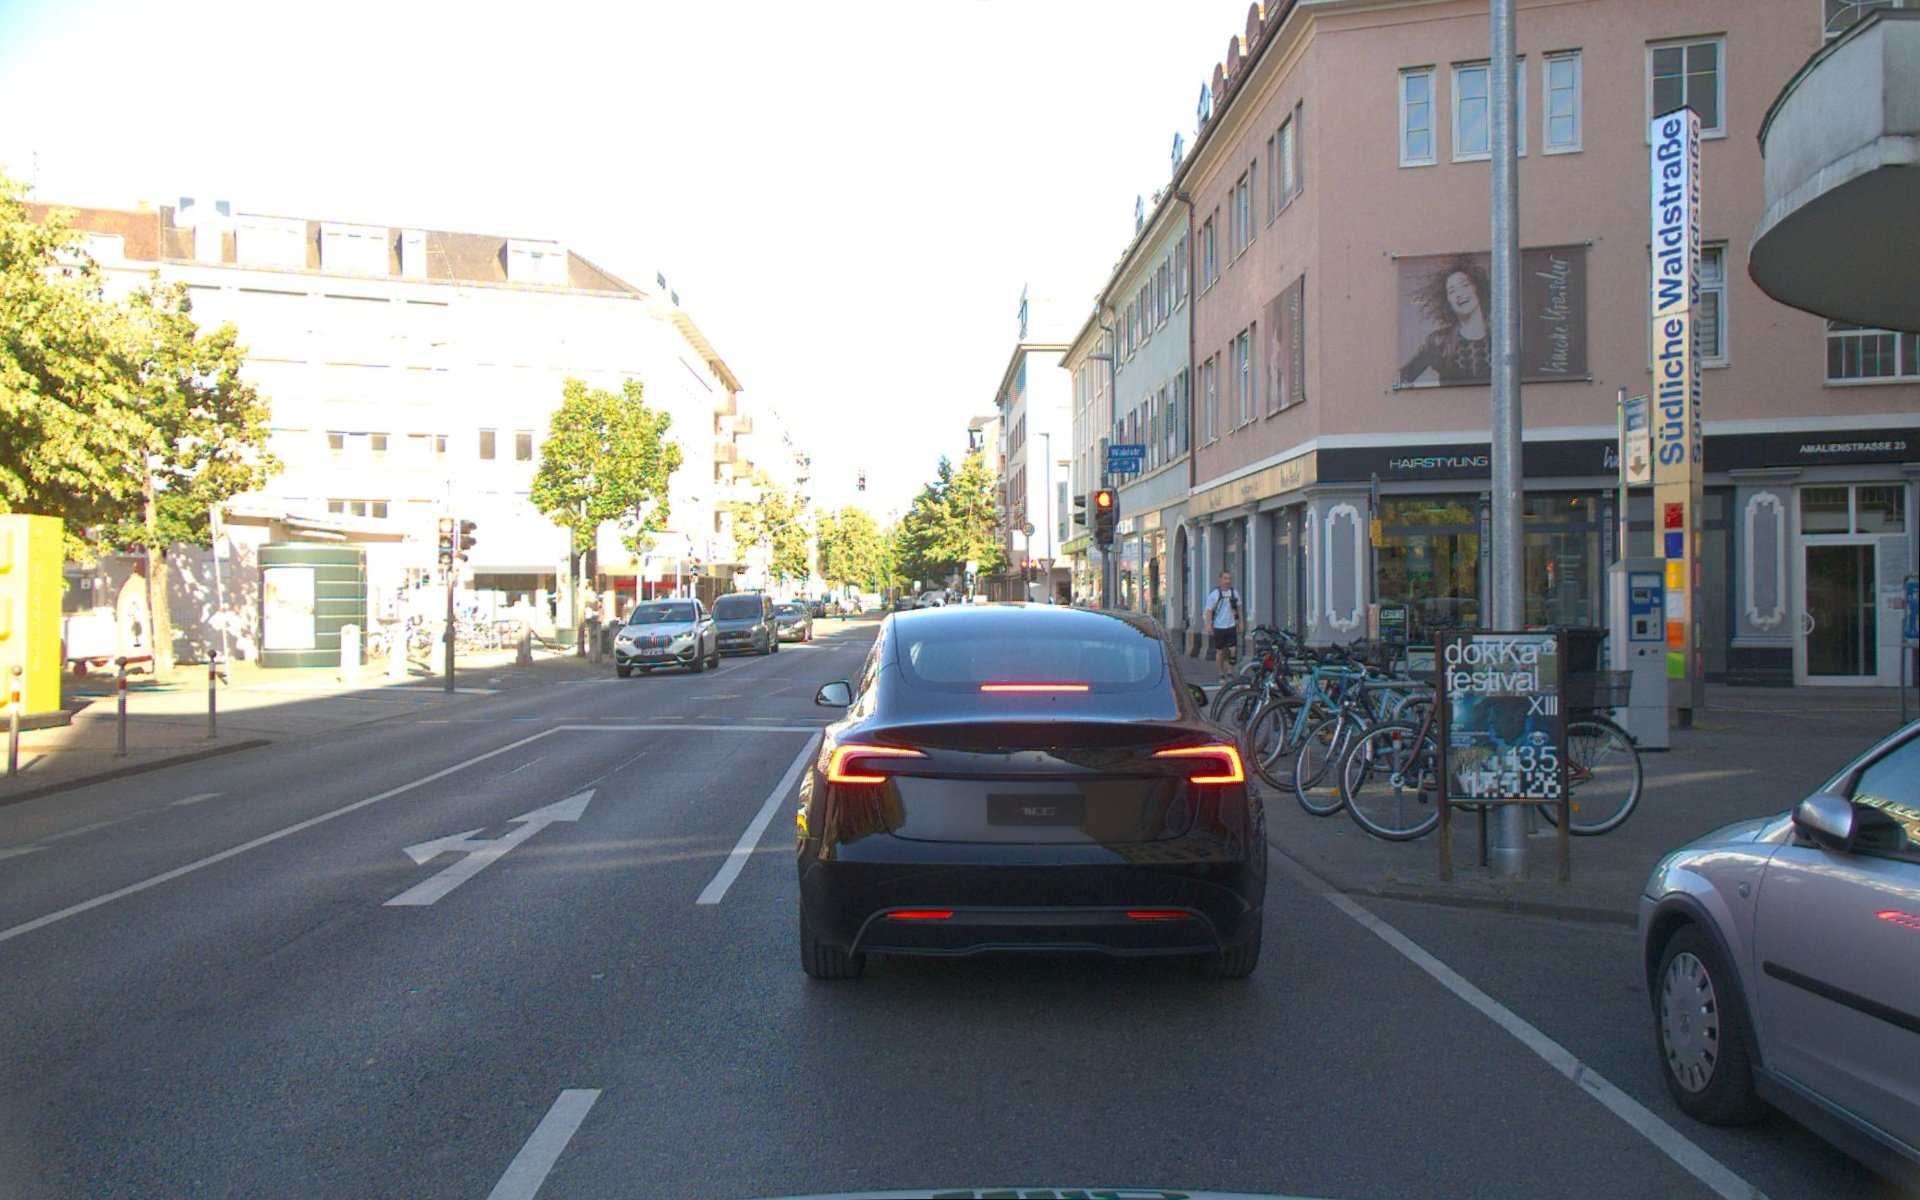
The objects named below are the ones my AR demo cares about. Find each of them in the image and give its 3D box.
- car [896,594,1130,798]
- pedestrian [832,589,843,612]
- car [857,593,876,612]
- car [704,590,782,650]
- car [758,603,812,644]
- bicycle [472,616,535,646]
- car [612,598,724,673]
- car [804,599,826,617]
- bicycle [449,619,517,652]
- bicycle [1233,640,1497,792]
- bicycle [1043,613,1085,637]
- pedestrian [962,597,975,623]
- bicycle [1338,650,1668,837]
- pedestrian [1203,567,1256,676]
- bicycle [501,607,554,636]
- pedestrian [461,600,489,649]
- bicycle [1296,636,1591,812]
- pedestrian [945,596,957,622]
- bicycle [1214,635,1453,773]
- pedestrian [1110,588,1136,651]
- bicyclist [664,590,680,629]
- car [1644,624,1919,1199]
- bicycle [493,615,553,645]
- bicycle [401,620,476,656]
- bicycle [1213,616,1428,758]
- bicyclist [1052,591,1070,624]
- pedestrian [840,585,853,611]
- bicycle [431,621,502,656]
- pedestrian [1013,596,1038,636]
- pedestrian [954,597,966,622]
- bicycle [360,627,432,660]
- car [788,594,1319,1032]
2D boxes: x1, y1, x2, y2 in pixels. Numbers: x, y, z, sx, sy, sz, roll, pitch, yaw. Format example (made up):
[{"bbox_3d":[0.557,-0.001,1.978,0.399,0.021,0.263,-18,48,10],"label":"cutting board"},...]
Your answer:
[{"bbox_3d":[0.314,0.688,13.810,1.683,1.450,3.755,0,0,-2],"label":"car"},{"bbox_3d":[-10.915,0.047,147.419,0.900,2.049,0.933,0,0,-1],"label":"pedestrian"},{"bbox_3d":[-10.543,0.288,186.943,1.953,2.049,3.999,0,0,-1],"label":"car"},{"bbox_3d":[-6.307,0.559,48.379,1.751,1.675,4.401,0,0,-1],"label":"car"},{"bbox_3d":[-6.583,0.863,62.632,1.680,1.471,3.844,1,0,-1],"label":"car"},{"bbox_3d":[-14.328,0.969,51.931,1.826,0.950,0.606,0,0,-2],"label":"bicycle"},{"bbox_3d":[-6.291,0.742,36.014,1.752,1.485,3.756,-2,0,-1],"label":"car"},{"bbox_3d":[-12.772,0.669,146.100,1.671,1.579,3.696,0,0,-1],"label":"car"},{"bbox_3d":[-14.305,1.077,49.626,1.826,0.950,0.606,1,0,-2],"label":"bicycle"},{"bbox_3d":[3.026,0.865,12.472,1.834,1.056,0.533,-2,-1,3],"label":"bicycle"},{"bbox_3d":[4.477,1.079,71.430,1.756,1.024,0.469,1,-1,-17],"label":"bicycle"},{"bbox_3d":[0.492,0.575,95.443,0.516,1.447,0.474,1,-1,-31],"label":"pedestrian"},{"bbox_3d":[3.262,0.867,10.020,1.833,1.056,0.353,-2,-1,6],"label":"bicycle"},{"bbox_3d":[4.579,0.368,28.134,0.735,1.796,0.837,-2,-1,3],"label":"pedestrian"},{"bbox_3d":[-20.273,1.023,77.582,2.334,1.318,0.509,1,-1,-27],"label":"bicycle"},{"bbox_3d":[-20.420,1.033,69.691,1.041,2.049,1.049,1,-1,-20],"label":"pedestrian"},{"bbox_3d":[3.244,0.829,11.183,1.834,1.106,0.414,-2,-1,3],"label":"bicycle"},{"bbox_3d":[-0.537,0.513,95.211,0.467,1.442,0.516,1,-1,-32],"label":"pedestrian"},{"bbox_3d":[3.060,0.850,13.664,1.833,1.056,0.548,-2,-1,5],"label":"bicycle"},{"bbox_3d":[4.618,0.539,46.880,0.692,1.773,0.540,0,0,-1],"label":"pedestrian"},{"bbox_3d":[-11.472,0.364,65.905,0.516,1.530,0.473,1,-1,-24],"label":"bicyclist"},{"bbox_3d":[2.919,0.780,3.493,1.515,1.415,3.476,0,0,0],"label":"car"},{"bbox_3d":[-14.364,0.978,54.379,1.826,0.950,0.606,0,0,-2],"label":"bicycle"},{"bbox_3d":[-14.167,1.025,44.978,1.826,0.950,0.606,1,0,-2],"label":"bicycle"},{"bbox_3d":[3.203,0.768,14.787,1.789,1.189,0.506,-2,-1,5],"label":"bicycle"},{"bbox_3d":[4.353,0.329,71.402,0.659,1.420,0.460,1,-1,-17],"label":"bicyclist"},{"bbox_3d":[-7.694,-0.128,112.310,0.831,1.725,0.717,0,0,-4],"label":"pedestrian"},{"bbox_3d":[-14.067,1.086,47.156,1.826,0.950,0.606,1,0,-2],"label":"bicycle"},{"bbox_3d":[2.767,0.685,69.532,0.742,1.660,0.951,1,-1,-18],"label":"pedestrian"},{"bbox_3d":[0.018,0.553,94.546,0.516,1.447,0.474,1,-1,-31],"label":"pedestrian"},{"bbox_3d":[-14.449,1.111,42.394,1.612,0.806,0.606,1,0,-5],"label":"bicycle"},{"bbox_3d":[0.290,0.723,7.565,1.785,1.467,3.999,0,0,-1],"label":"car"}]
